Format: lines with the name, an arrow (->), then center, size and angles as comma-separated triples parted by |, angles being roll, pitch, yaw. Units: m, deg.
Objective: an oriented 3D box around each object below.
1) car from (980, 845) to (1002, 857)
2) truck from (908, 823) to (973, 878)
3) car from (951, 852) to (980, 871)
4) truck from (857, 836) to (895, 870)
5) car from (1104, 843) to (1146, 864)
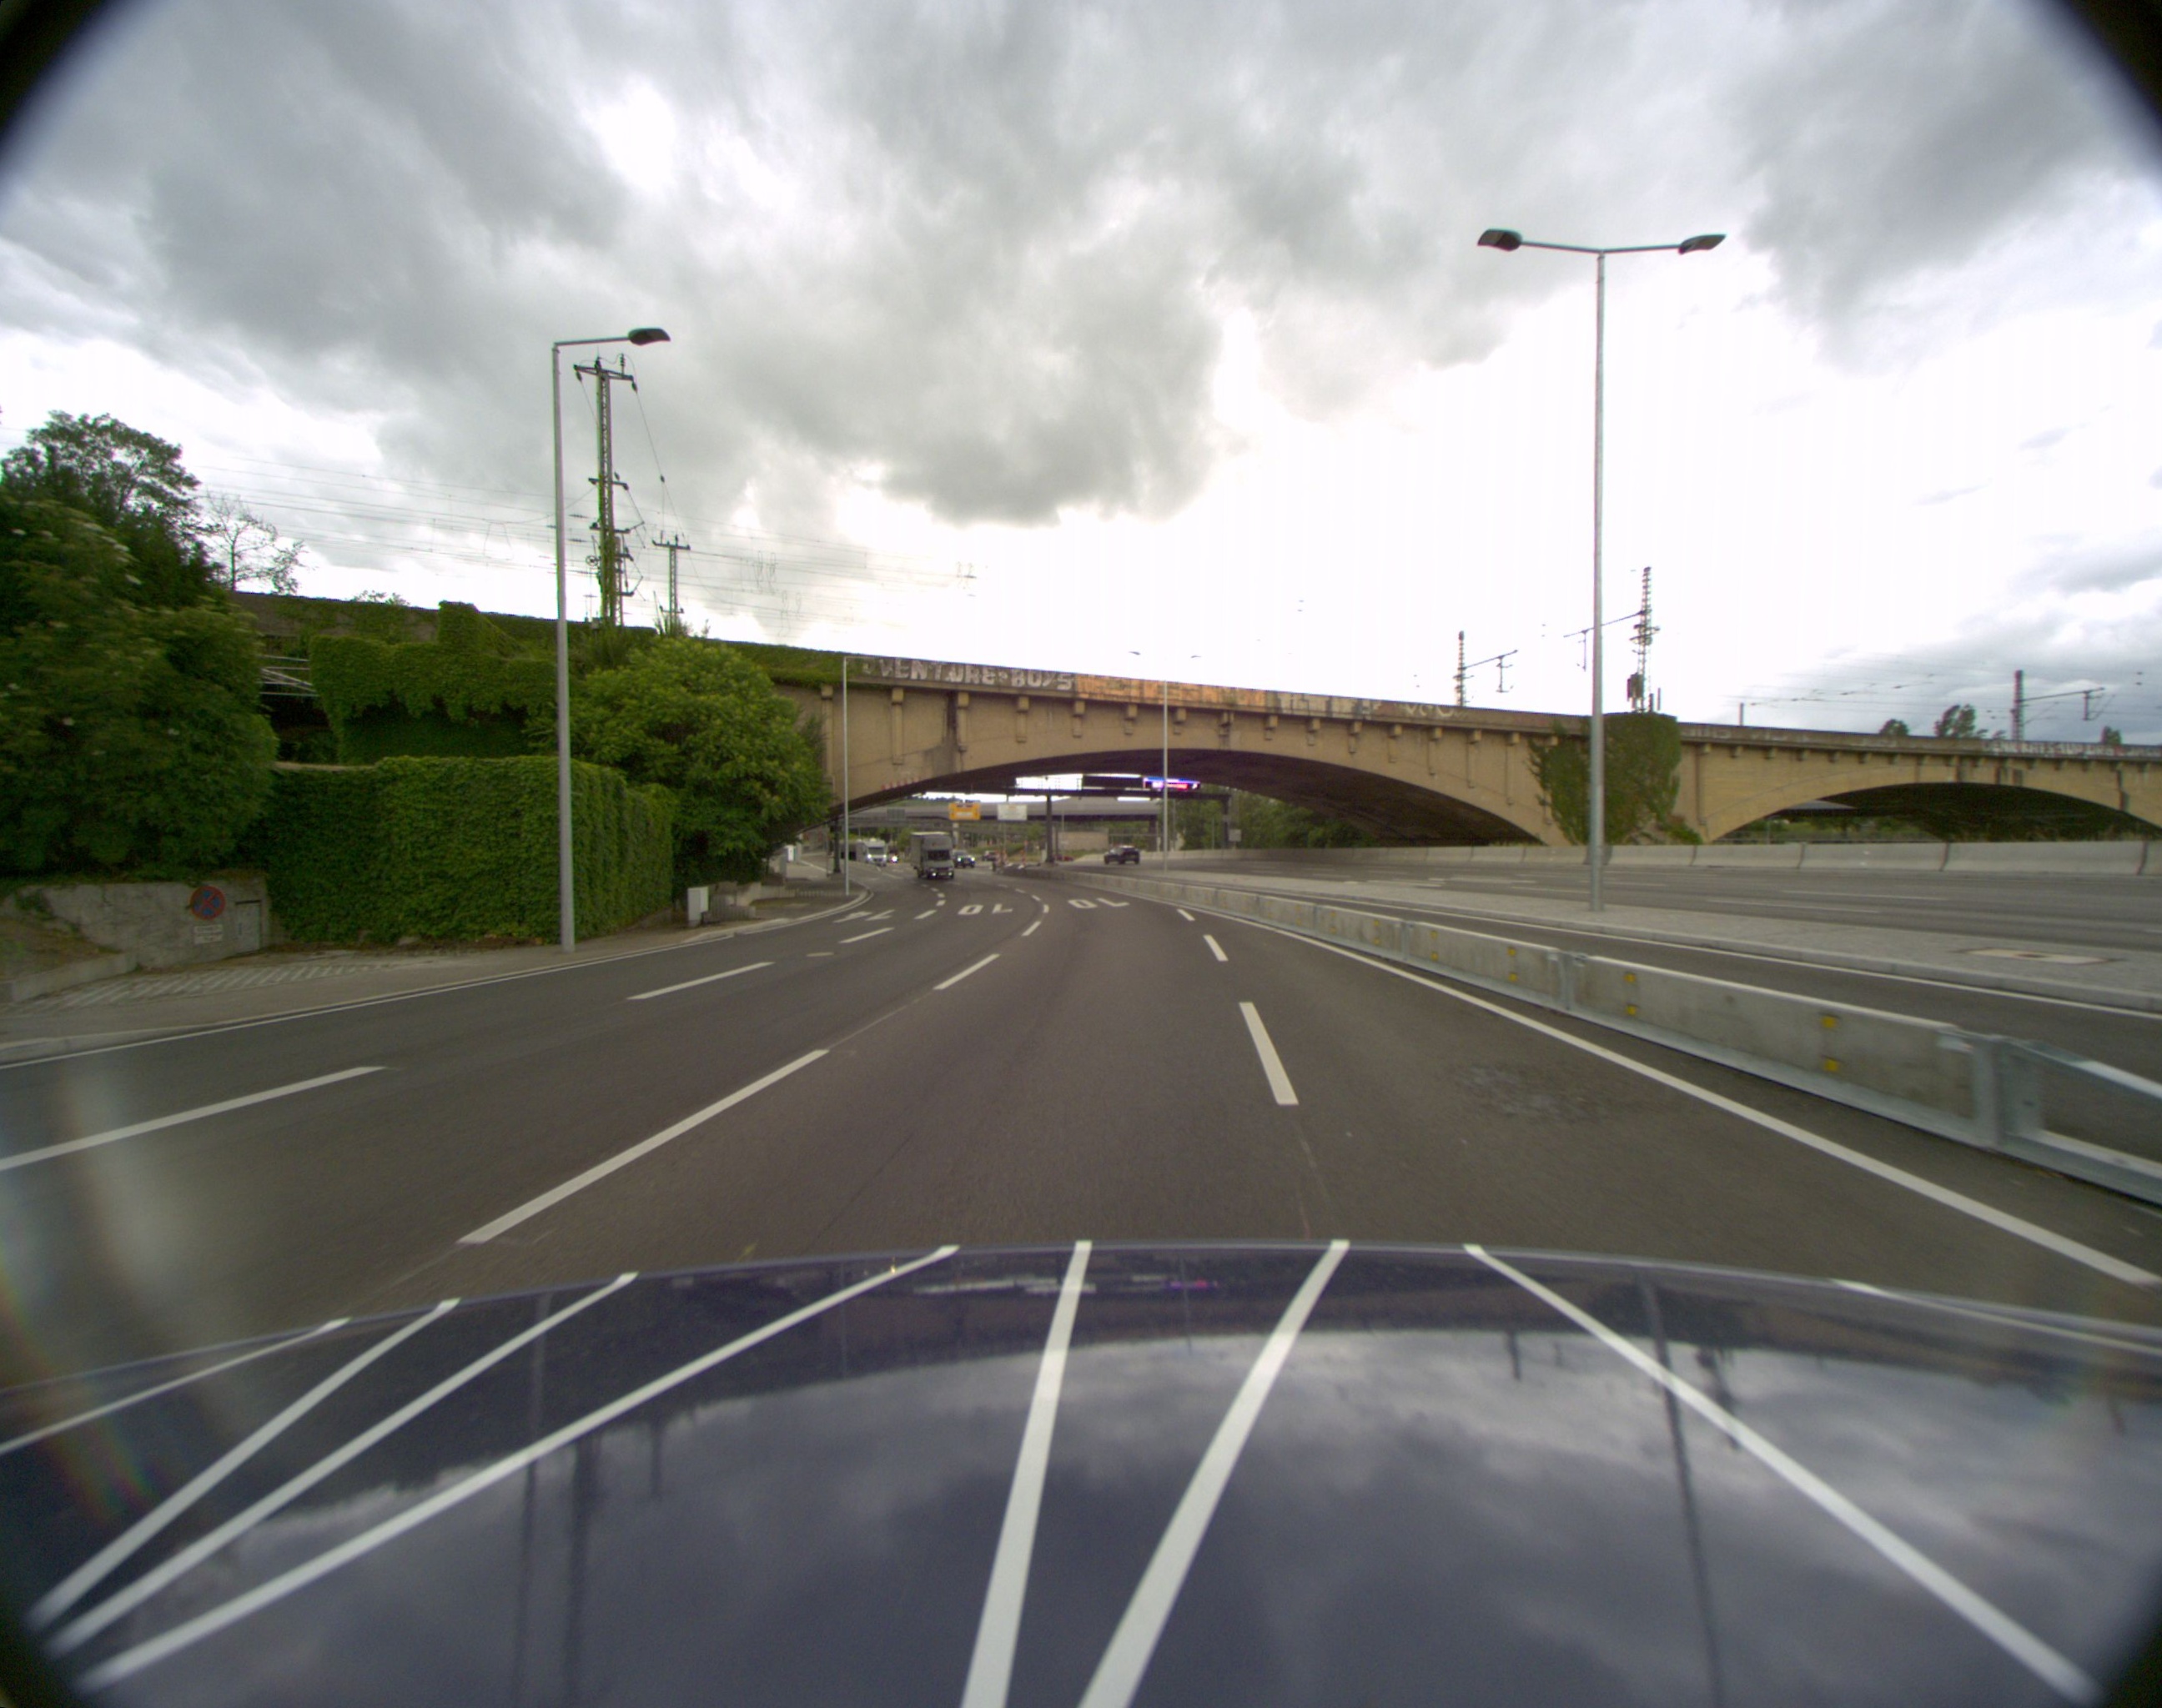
car -> -12.312, -0.335, 103.974 | 1.825, 1.528, 4.393 | -3, 1, -21
truck -> -10.641, -0.205, 56.718 | 3.037, 3.567, 8.935 | -5, 1, -20
car -> -11.485, 0.746, 75.351 | 1.871, 1.827, 4.198 | -2, 0, -21
truck -> -22.933, -0.120, 84.536 | 2.578, 3.548, 9.097 | -2, 1, -24
car -> 3.690, 0.008, 64.636 | 2.002, 1.575, 4.129 | -3, 0, -21
